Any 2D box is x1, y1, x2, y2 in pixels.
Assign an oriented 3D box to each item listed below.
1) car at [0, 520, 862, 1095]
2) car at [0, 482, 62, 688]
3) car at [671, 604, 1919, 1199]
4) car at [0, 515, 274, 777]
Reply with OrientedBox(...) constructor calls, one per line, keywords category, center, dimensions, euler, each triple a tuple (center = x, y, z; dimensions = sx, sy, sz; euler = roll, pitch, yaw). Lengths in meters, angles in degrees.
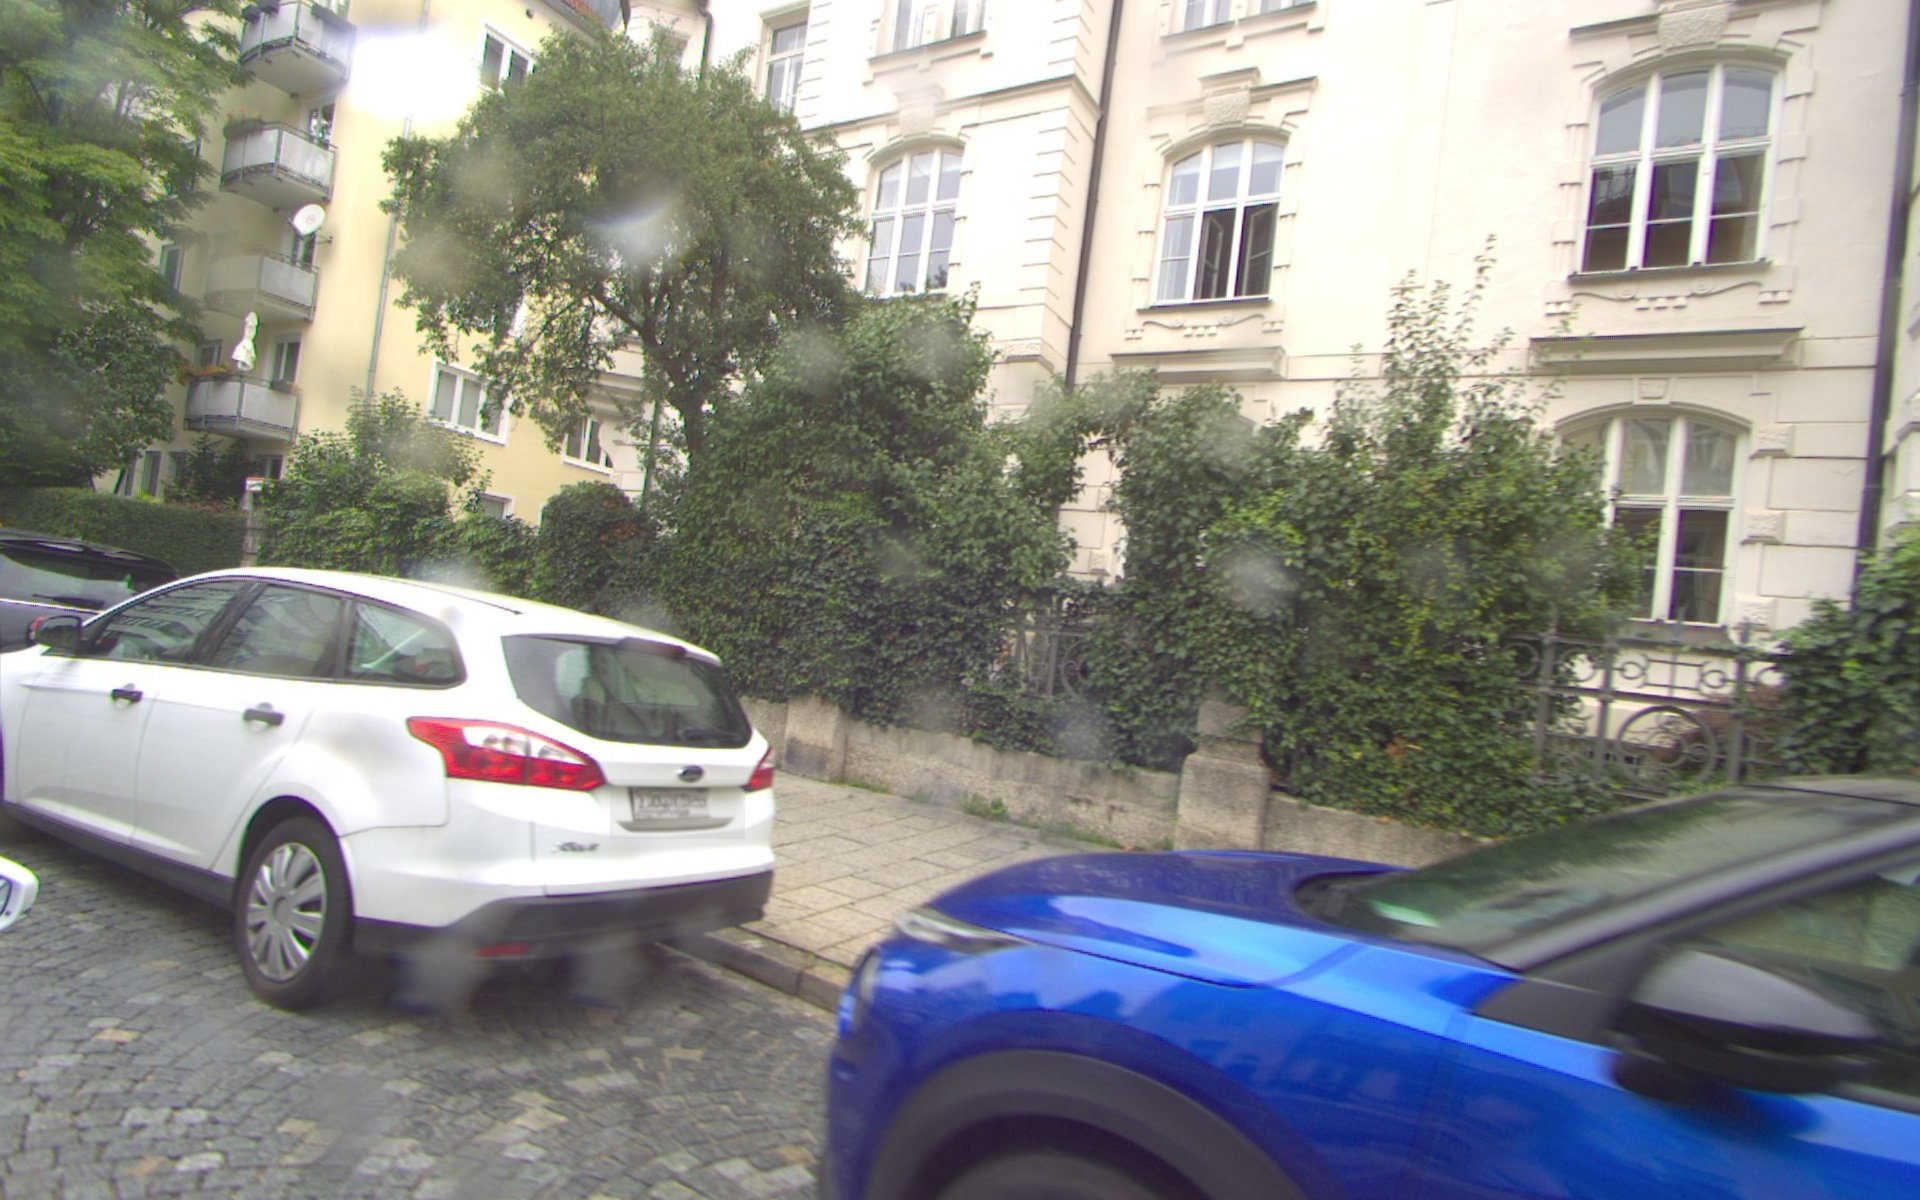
OrientedBox(category="car", center=(-2.819, 0.588, 4.662), dimensions=(4.315, 1.445, 1.780), euler=(6, -4, 28))
OrientedBox(category="car", center=(-10.793, -0.418, 9.470), dimensions=(4.872, 1.778, 1.969), euler=(6, -4, 31))
OrientedBox(category="car", center=(1.682, 1.072, 1.834), dimensions=(4.177, 1.496, 1.716), euler=(6, -6, 29))
OrientedBox(category="car", center=(-6.862, 0.171, 7.106), dimensions=(3.900, 1.467, 1.689), euler=(6, -5, 31))
